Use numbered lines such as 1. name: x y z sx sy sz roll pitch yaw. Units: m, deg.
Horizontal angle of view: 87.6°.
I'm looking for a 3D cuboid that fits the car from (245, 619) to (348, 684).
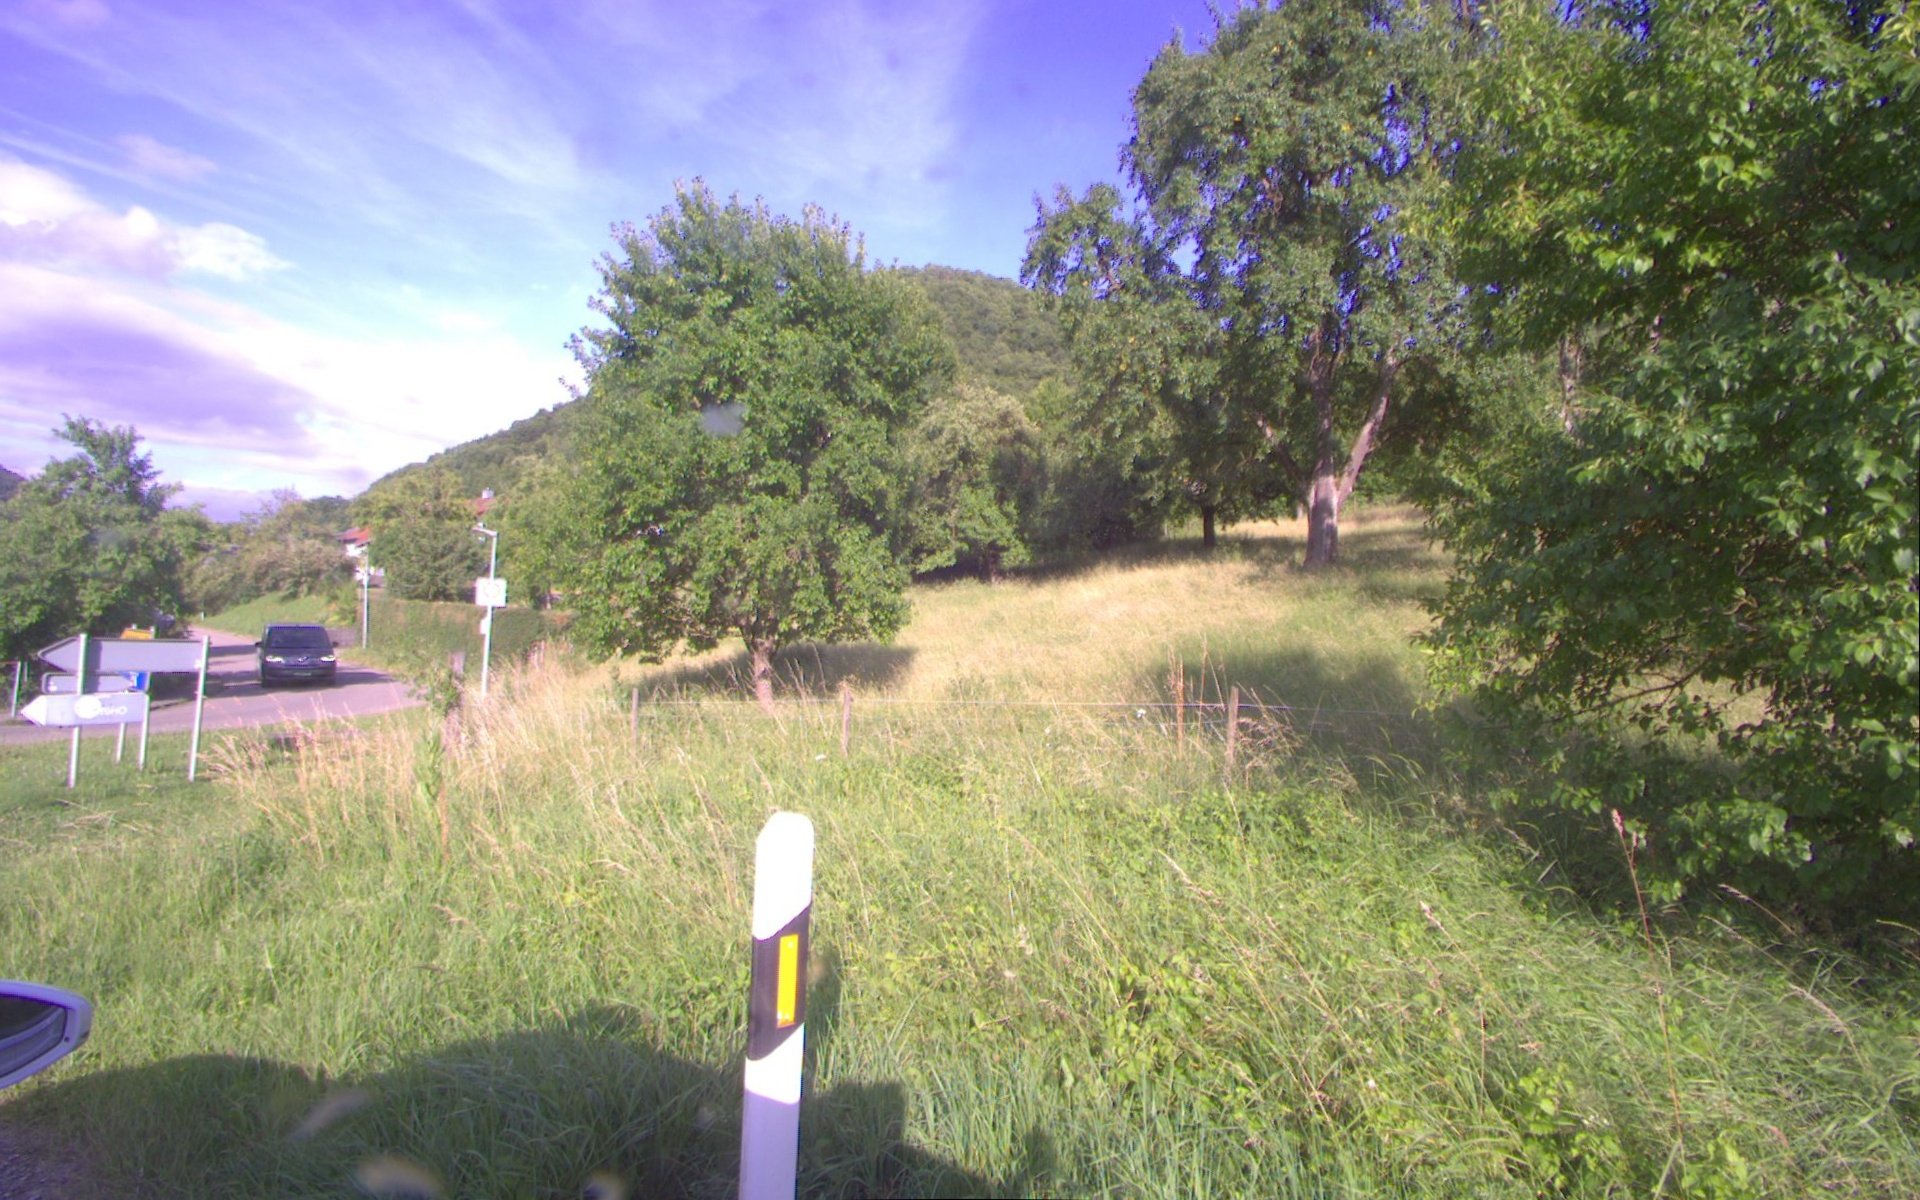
1. car: -21.258 1.611 32.012 1.981 1.900 4.826 4 -3 -42
